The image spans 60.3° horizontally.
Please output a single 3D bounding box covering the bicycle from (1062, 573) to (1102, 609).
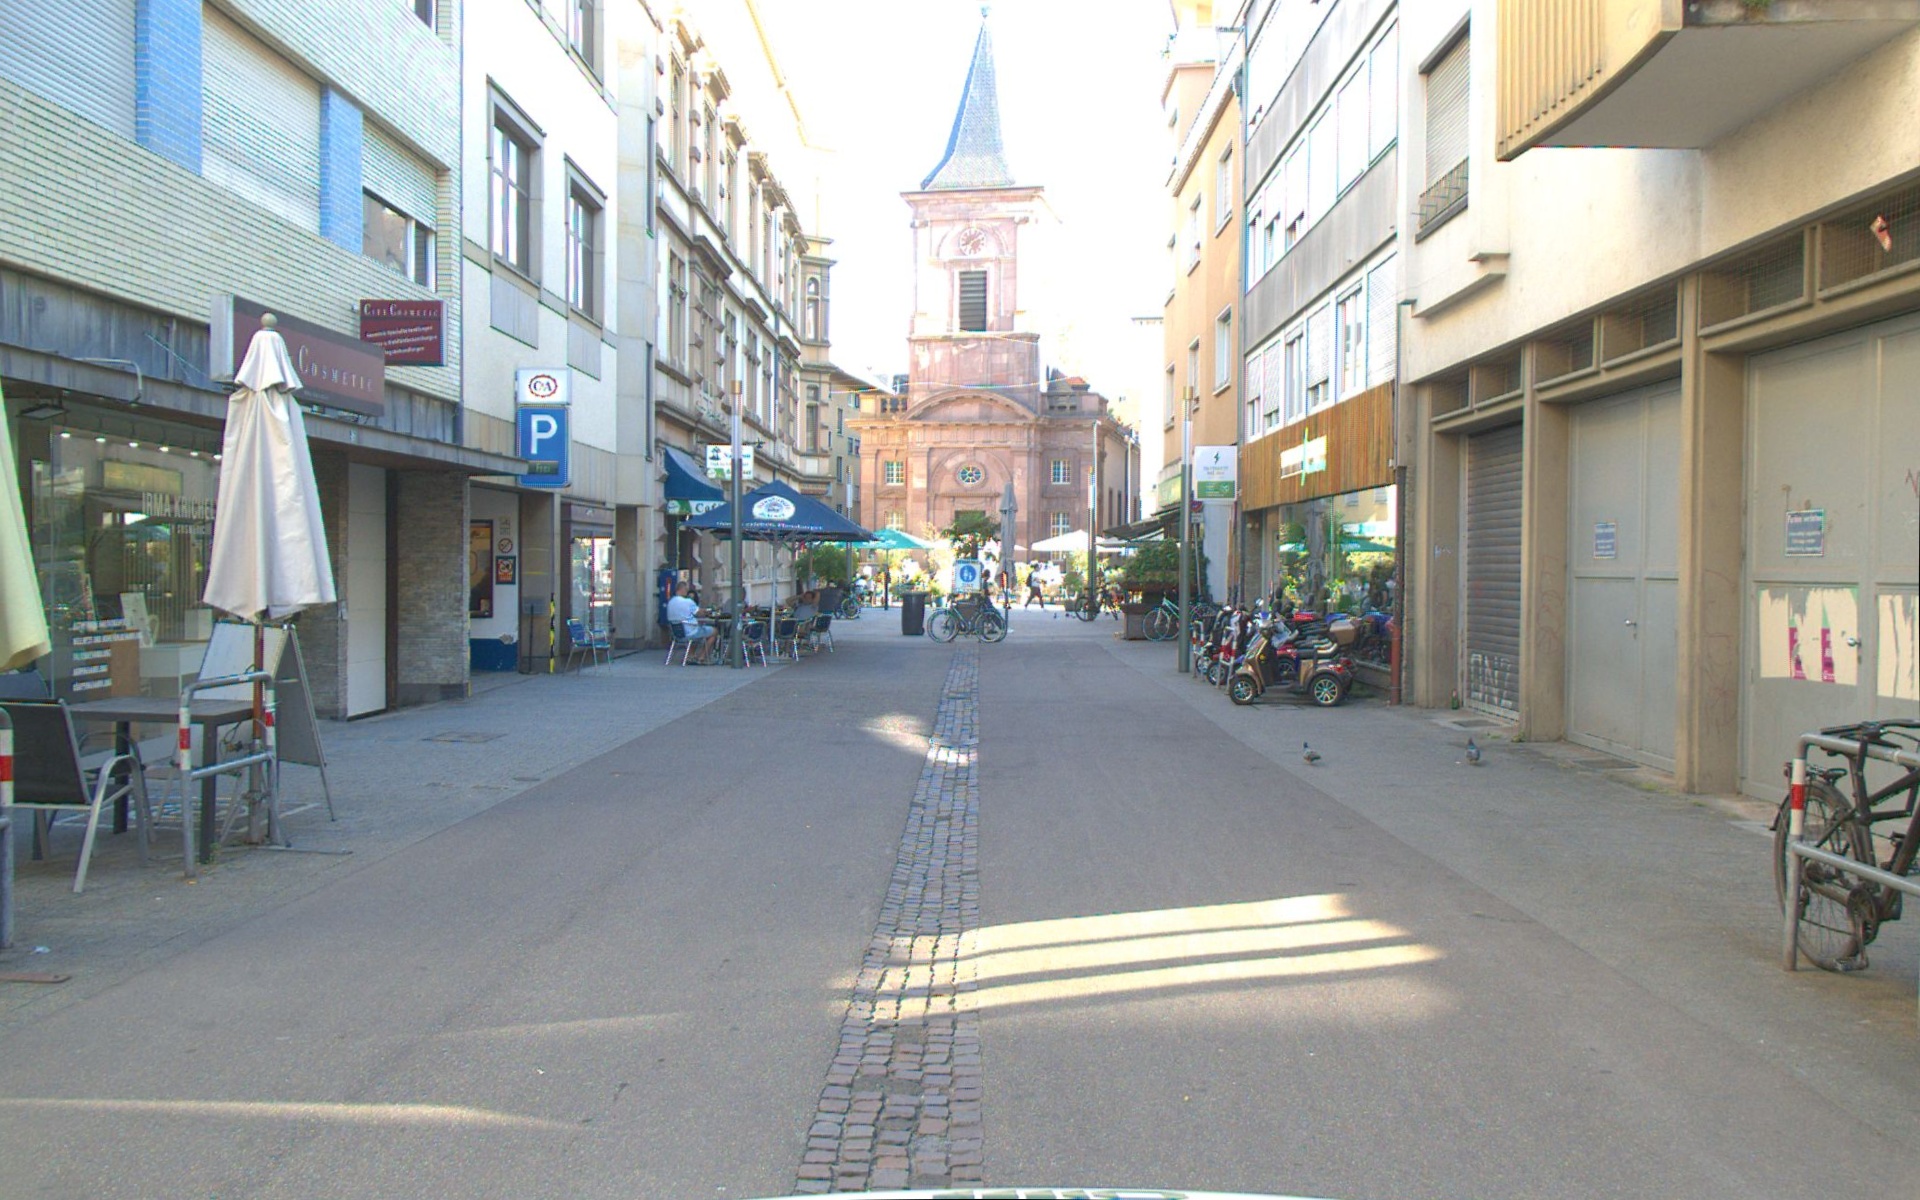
[{"bbox_3d":[4.646,-0.339,62.776,1.568,1.330,0.362,0,1,-29],"label":"bicycle"}]

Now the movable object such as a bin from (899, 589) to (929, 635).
[{"bbox_3d":[-1.115,0.287,40.266,0.707,1.093,0.374,0,1,-1],"label":"movable object such as a bin"}]

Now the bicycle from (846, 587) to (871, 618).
[{"bbox_3d":[-3.027,0.070,49.353,0.447,0.864,2.148,0,1,4],"label":"bicycle"}]

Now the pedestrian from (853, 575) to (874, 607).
[{"bbox_3d":[-3.700,-0.350,63.465,0.685,1.239,0.720,0,1,6],"label":"pedestrian"}]

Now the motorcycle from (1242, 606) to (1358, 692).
[{"bbox_3d":[4.465,0.636,21.725,1.452,1.094,0.412,0,0,19],"label":"motorcycle"}]

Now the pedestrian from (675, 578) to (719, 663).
[{"bbox_3d":[-4.396,0.332,27.595,0.705,1.392,0.708,0,1,-12],"label":"pedestrian"}]

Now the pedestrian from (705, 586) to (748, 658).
[{"bbox_3d":[-4.153,0.382,29.476,0.750,1.254,0.830,0,1,-7],"label":"pedestrian"}]

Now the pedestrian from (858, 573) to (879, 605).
[{"bbox_3d":[-3.582,-0.436,64.895,0.685,1.239,0.720,0,1,6],"label":"pedestrian"}]

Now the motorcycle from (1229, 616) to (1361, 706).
[{"bbox_3d":[4.044,0.726,19.974,1.531,1.060,0.373,0,0,19],"label":"motorcycle"}]

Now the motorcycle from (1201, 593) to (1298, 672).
[{"bbox_3d":[4.492,0.498,25.653,1.452,1.202,0.412,0,0,16],"label":"motorcycle"}]

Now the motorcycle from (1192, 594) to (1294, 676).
[{"bbox_3d":[4.206,0.513,24.574,1.452,1.202,0.412,0,0,16],"label":"motorcycle"}]

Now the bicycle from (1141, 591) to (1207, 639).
[{"bbox_3d":[4.747,0.331,36.641,1.432,1.022,0.573,0,1,7],"label":"bicycle"}]

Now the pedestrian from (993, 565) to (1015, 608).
[{"bbox_3d":[1.751,-0.539,65.497,0.608,1.669,0.647,0,1,-43],"label":"pedestrian"}]

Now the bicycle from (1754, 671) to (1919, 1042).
[{"bbox_3d":[3.425,0.873,5.973,0.437,1.160,1.711,1,0,6],"label":"bicycle"}]

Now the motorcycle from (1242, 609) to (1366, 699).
[{"bbox_3d":[4.315,0.669,20.734,1.485,1.094,0.412,0,0,19],"label":"motorcycle"}]

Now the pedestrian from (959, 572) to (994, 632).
[{"bbox_3d":[0.427,0.039,41.507,0.865,1.489,0.731,0,1,1],"label":"pedestrian"}]

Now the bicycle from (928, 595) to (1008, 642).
[{"bbox_3d":[0.175,0.412,36.958,1.787,1.022,0.381,0,1,-3],"label":"bicycle"}]

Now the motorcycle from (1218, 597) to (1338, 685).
[{"bbox_3d":[4.404,0.558,22.927,1.590,1.195,0.481,0,0,19],"label":"motorcycle"}]

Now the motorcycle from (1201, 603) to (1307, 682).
[{"bbox_3d":[4.209,0.597,23.700,1.452,1.094,0.412,0,0,19],"label":"motorcycle"}]

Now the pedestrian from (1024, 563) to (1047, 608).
[{"bbox_3d":[2.671,-0.519,58.387,0.767,1.583,0.535,0,1,5],"label":"pedestrian"}]

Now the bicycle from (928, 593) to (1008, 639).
[{"bbox_3d":[0.168,0.355,37.353,1.787,1.022,0.381,0,1,-3],"label":"bicycle"}]

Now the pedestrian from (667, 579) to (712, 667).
[{"bbox_3d":[-4.365,0.365,26.671,0.695,1.392,0.718,0,1,-12],"label":"pedestrian"}]

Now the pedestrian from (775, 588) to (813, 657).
[{"bbox_3d":[-3.039,0.402,30.231,0.679,1.236,0.582,0,1,-8],"label":"pedestrian"}]
